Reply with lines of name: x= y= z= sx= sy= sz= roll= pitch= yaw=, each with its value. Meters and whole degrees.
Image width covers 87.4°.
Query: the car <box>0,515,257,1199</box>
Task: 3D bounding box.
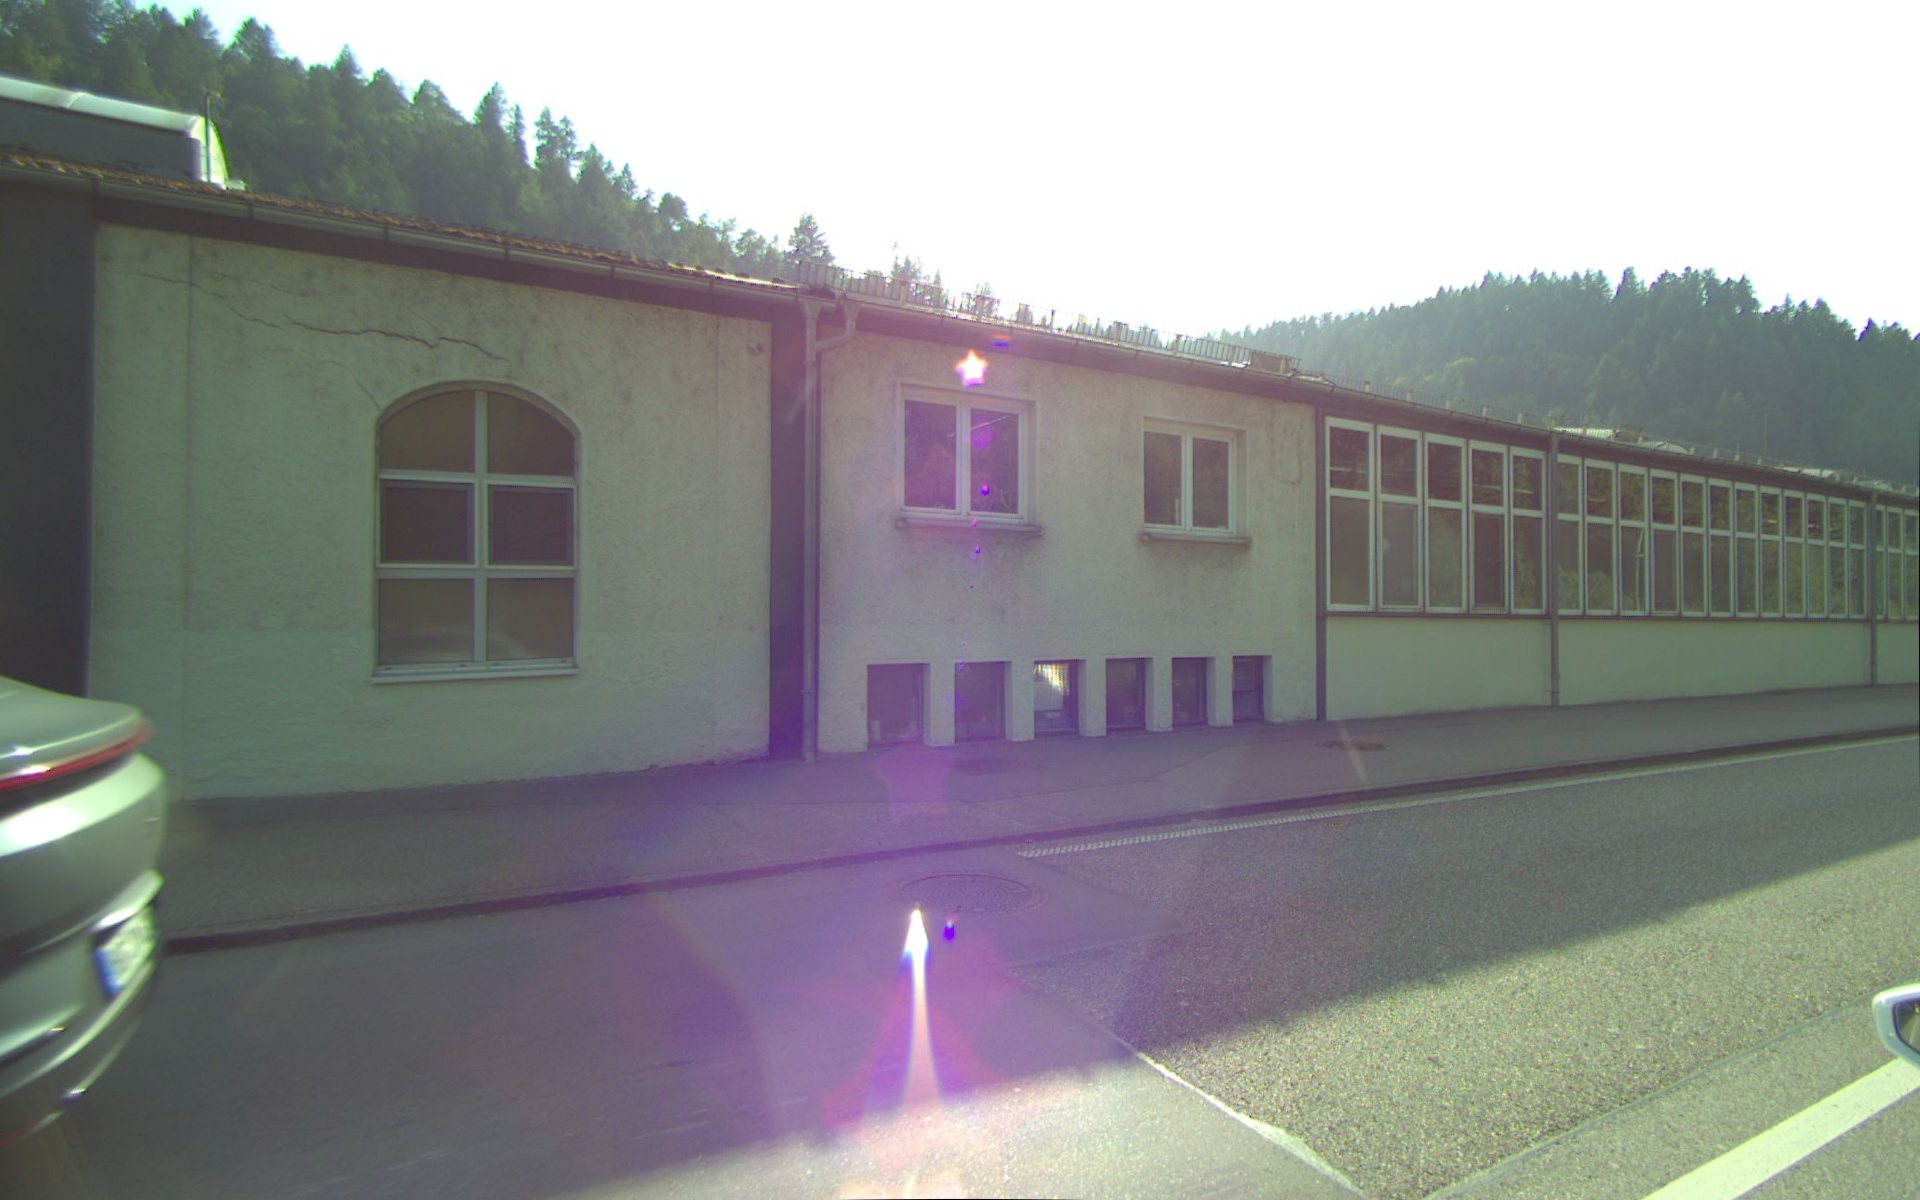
car: x=-3.823 y=0.608 z=1.454 sx=4.405 sy=1.602 sz=1.920 roll=1 pitch=1 yaw=-30
